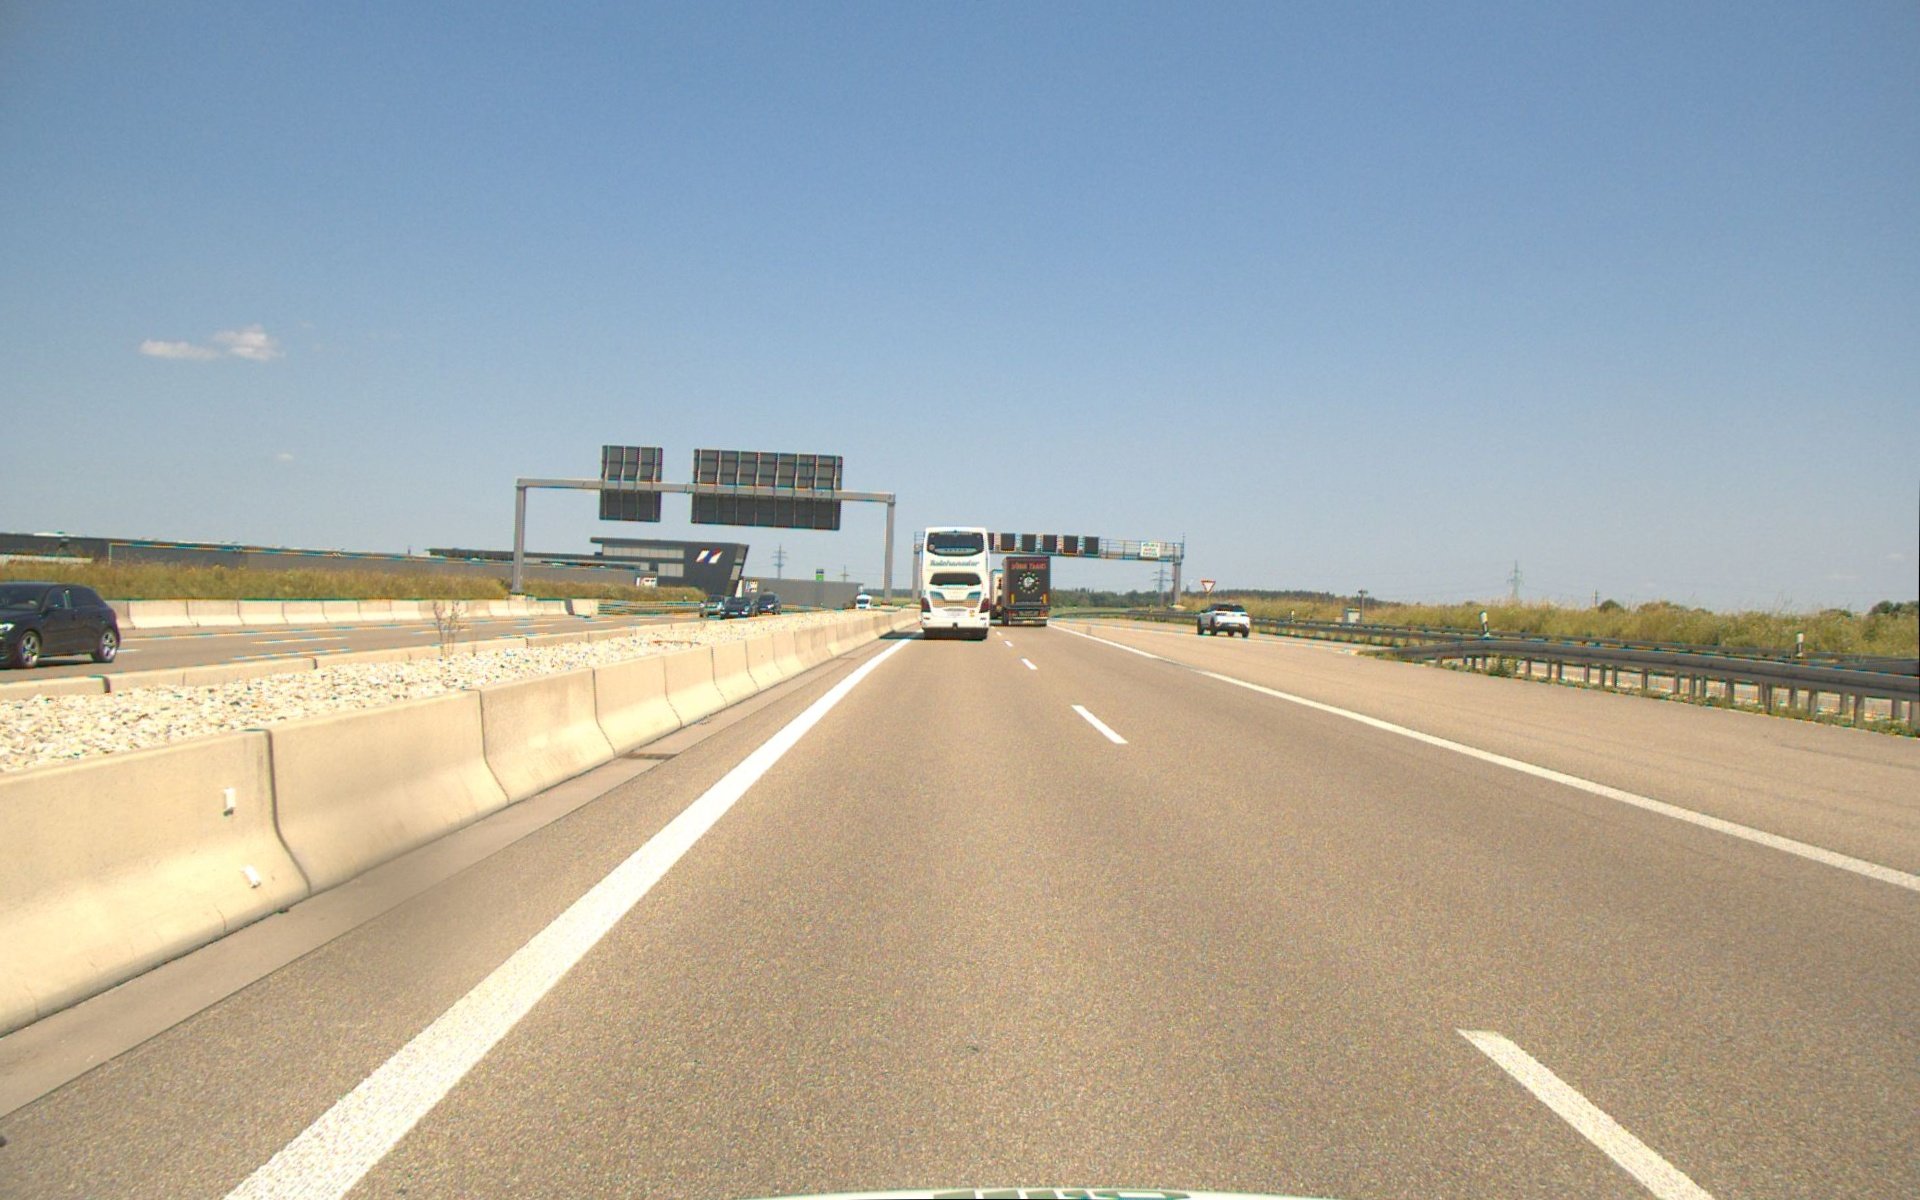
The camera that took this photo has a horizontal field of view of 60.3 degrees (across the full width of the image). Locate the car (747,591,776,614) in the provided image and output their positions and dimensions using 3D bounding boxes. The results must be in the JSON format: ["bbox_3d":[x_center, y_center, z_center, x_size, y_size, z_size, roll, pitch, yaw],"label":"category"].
[{"bbox_3d":[-16.378,0.203,136.766,1.809,1.855,4.920,1,0,0],"label":"car"}]

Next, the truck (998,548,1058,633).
[{"bbox_3d":[4.068,-0.406,101.203,3.309,4.542,13.568,2,-2,2],"label":"truck"}]

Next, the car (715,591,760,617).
[{"bbox_3d":[-12.680,0.213,94.503,1.806,1.406,4.753,1,0,1],"label":"car"}]

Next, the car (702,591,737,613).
[{"bbox_3d":[-15.848,0.118,108.935,1.853,1.352,3.984,1,0,-2],"label":"car"}]

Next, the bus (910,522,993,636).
[{"bbox_3d":[-0.398,-0.813,63.806,2.920,4.044,9.103,1,1,-1],"label":"bus"}]

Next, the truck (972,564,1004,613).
[{"bbox_3d":[2.269,-0.945,134.741,2.388,3.855,6.492,1,0,-1],"label":"truck"}]

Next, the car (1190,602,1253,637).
[{"bbox_3d":[12.433,0.914,78.934,1.855,1.556,4.256,1,0,-7],"label":"car"}]

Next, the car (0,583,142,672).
[{"bbox_3d":[-16.123,0.421,28.384,1.953,1.403,4.364,1,0,0],"label":"car"}]
